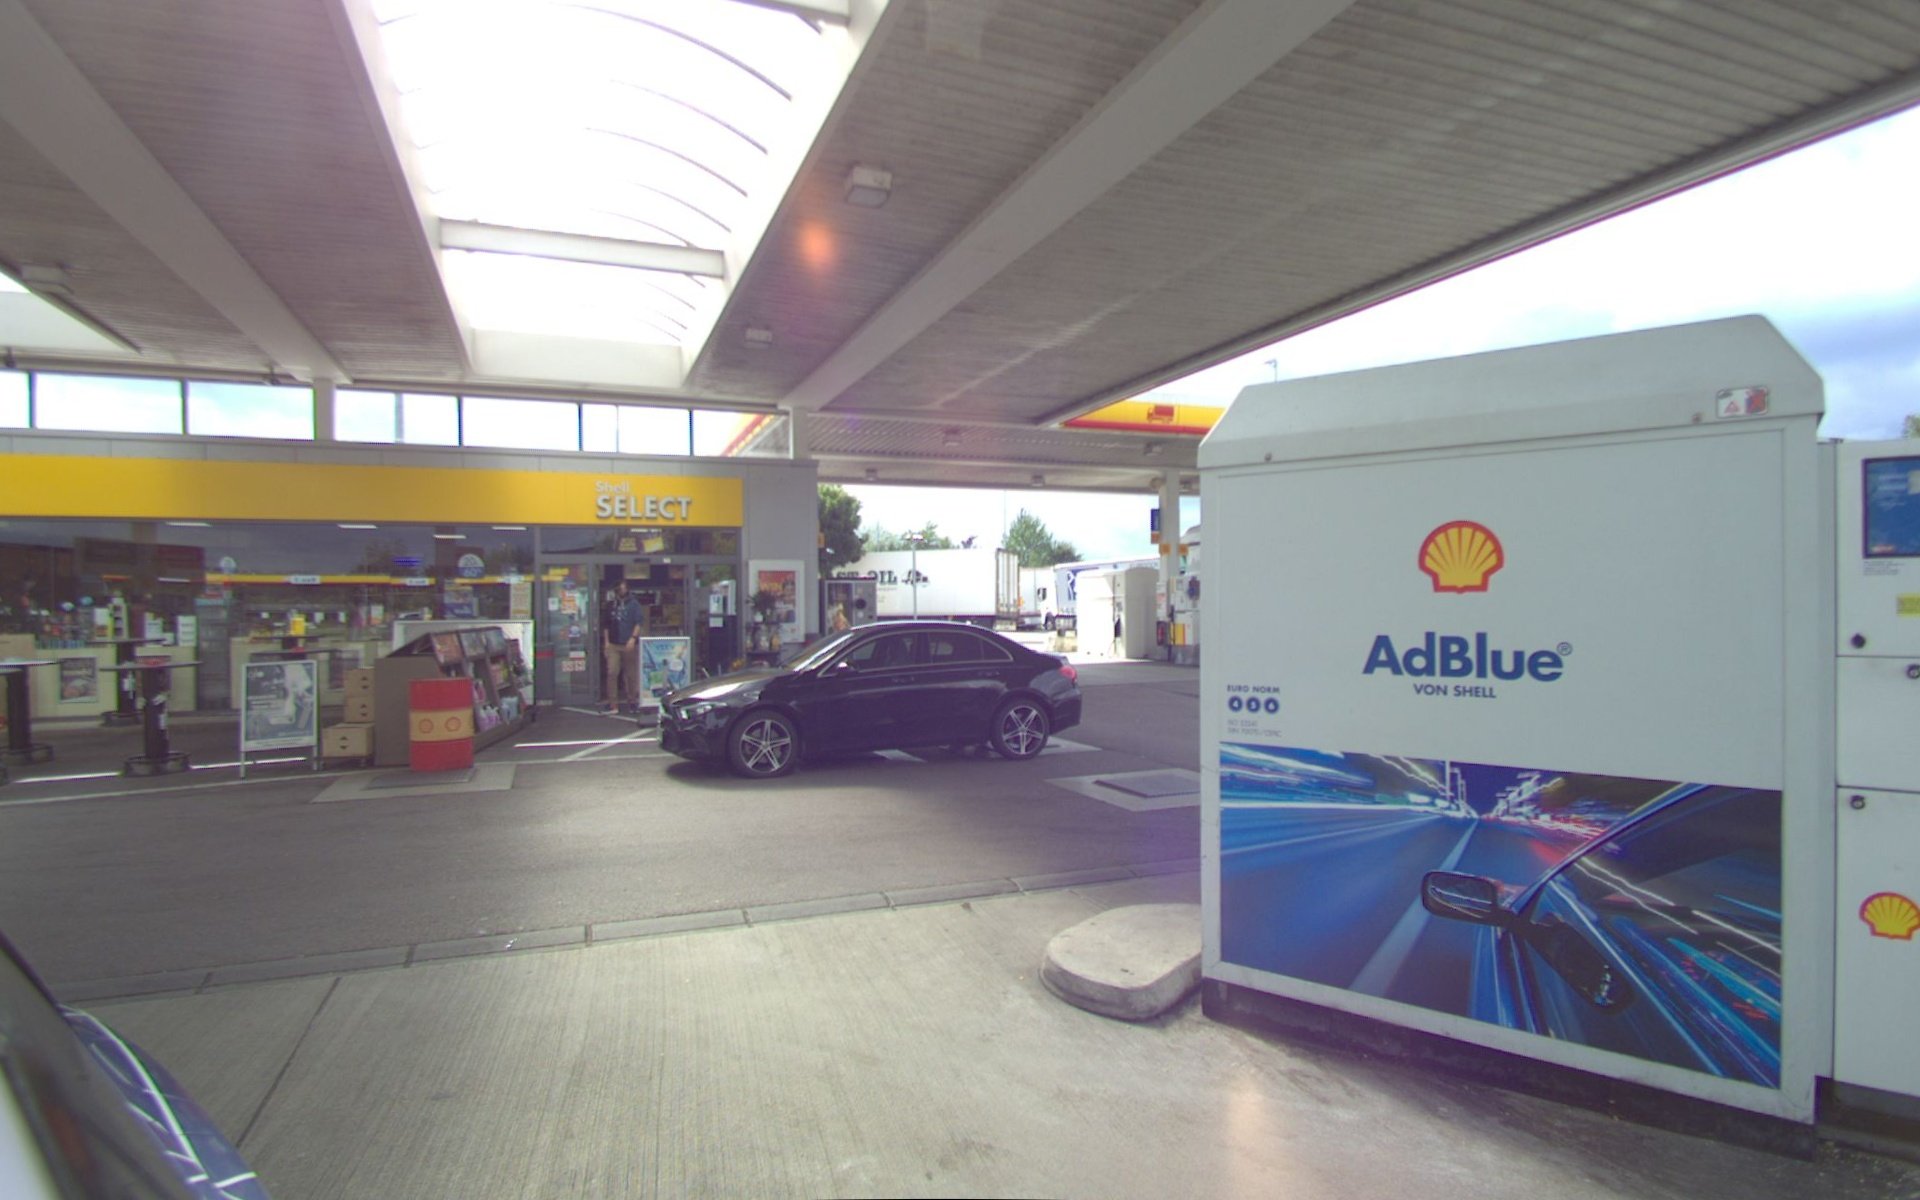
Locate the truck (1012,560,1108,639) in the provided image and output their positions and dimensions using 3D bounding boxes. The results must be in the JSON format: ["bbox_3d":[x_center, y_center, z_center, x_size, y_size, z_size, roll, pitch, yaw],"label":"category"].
[{"bbox_3d":[5.937,-0.038,61.213,3.333,4.538,6.249,-1,0,-20],"label":"truck"}]

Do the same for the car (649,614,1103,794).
[{"bbox_3d":[-0.888,0.944,10.624,4.394,1.511,1.785,-1,0,-21],"label":"car"}]

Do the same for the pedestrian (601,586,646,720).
[{"bbox_3d":[-4.929,0.759,14.817,0.571,1.920,0.511,-1,0,-22],"label":"pedestrian"}]

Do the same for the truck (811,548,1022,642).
[{"bbox_3d":[-2.093,-0.173,46.832,9.536,4.036,2.772,-1,0,25],"label":"truck"}]

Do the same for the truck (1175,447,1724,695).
[{"bbox_3d":[9.666,-0.458,23.094,2.491,4.069,12.947,-1,0,-22],"label":"truck"}]

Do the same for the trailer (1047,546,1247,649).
[{"bbox_3d":[9.114,-0.090,52.665,3.294,4.600,14.397,-1,0,-20],"label":"trailer"}]
